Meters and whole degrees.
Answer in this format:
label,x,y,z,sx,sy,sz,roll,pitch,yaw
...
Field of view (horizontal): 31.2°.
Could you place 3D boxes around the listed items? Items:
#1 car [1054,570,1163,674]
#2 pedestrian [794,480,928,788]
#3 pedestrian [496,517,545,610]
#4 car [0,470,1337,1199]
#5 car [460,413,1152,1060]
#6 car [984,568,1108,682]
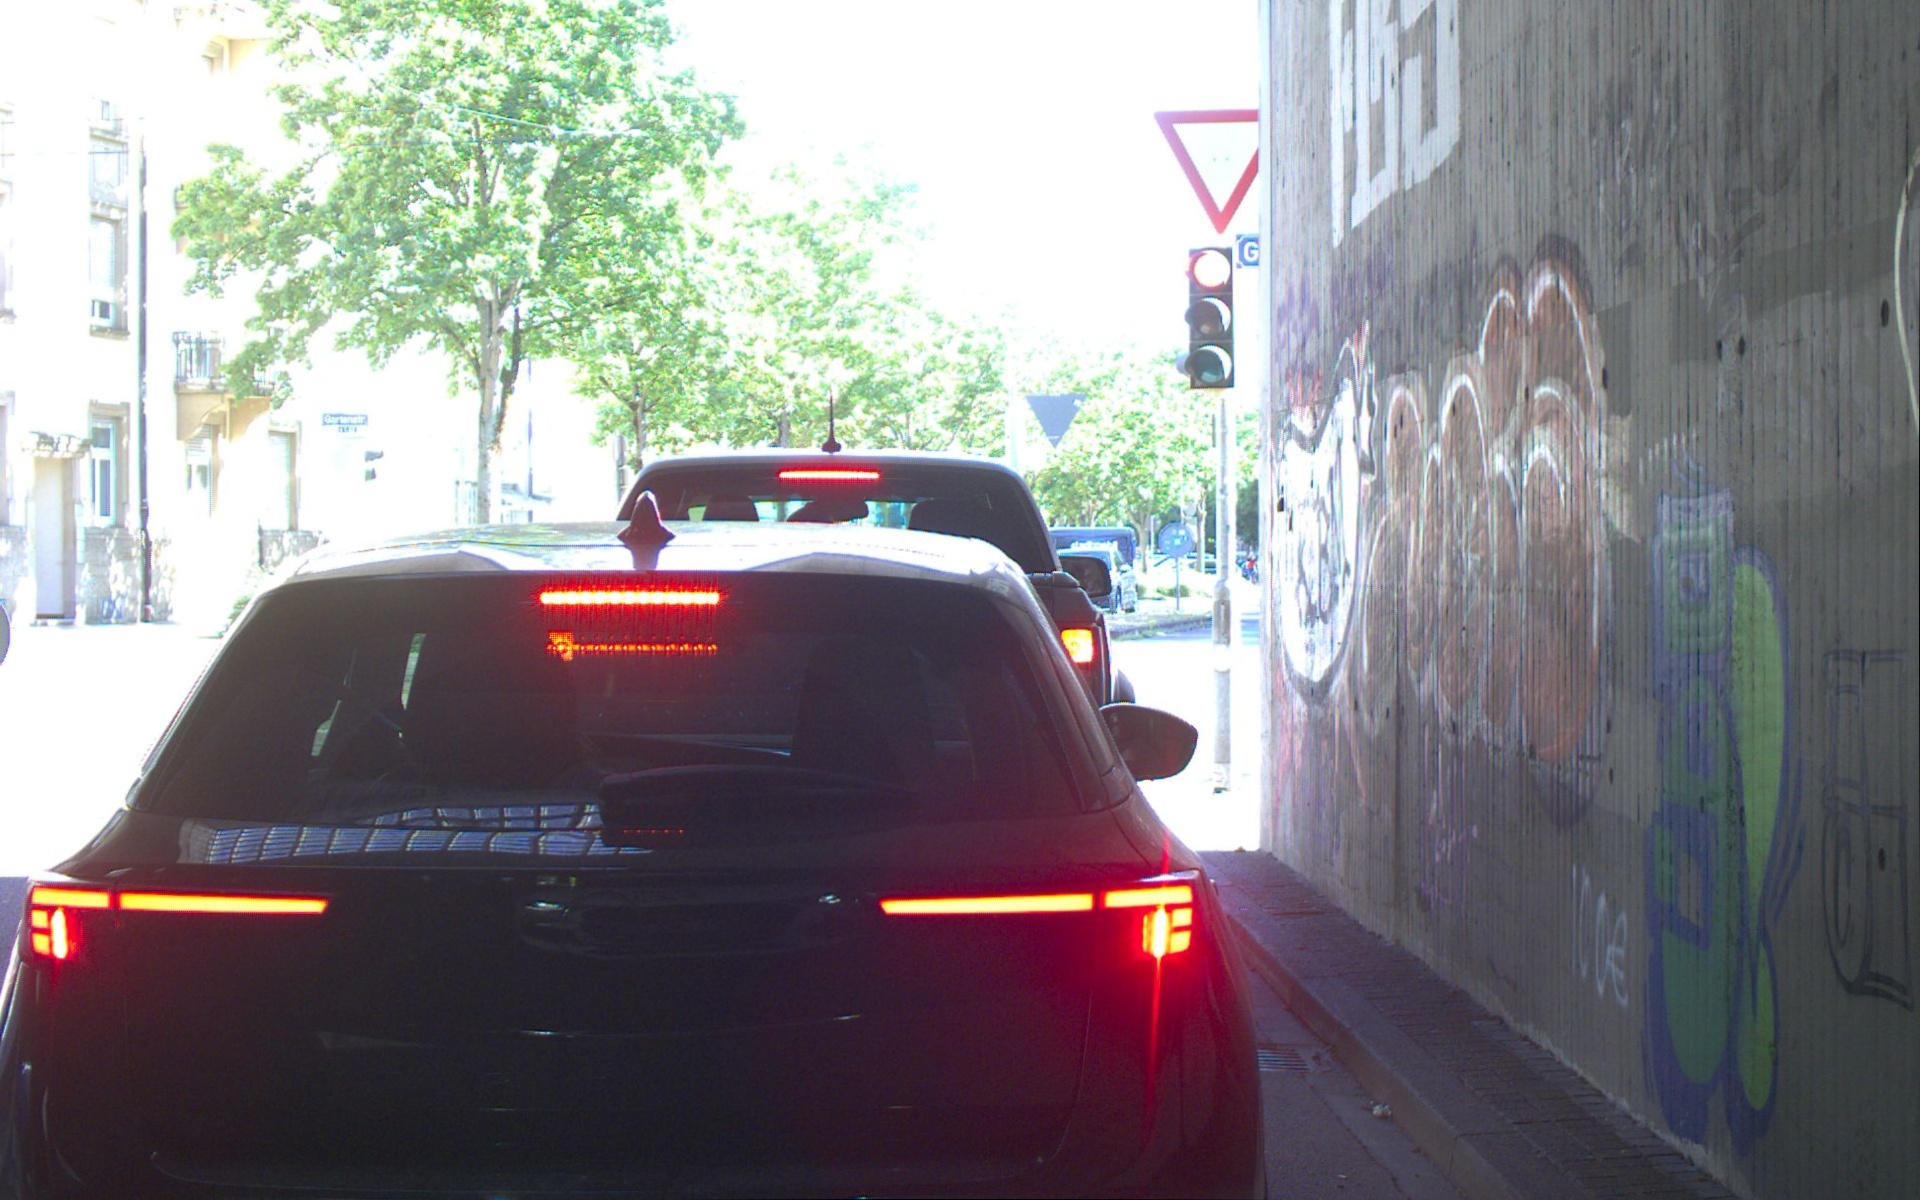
label,x,y,z,sx,sy,sz,roll,pitch,yaw
car,2.987,0.410,68.477,1.994,1.963,4.163,1,1,5
pedestrian,-0.564,0.190,19.843,0.731,1.728,0.874,1,0,-1
pedestrian,-9.969,-0.825,78.022,0.892,2.080,0.808,1,0,7
car,-0.481,0.572,5.988,1.764,1.566,4.001,1,2,-1
car,-0.466,0.357,11.957,1.993,1.865,4.000,0,1,-1
car,1.591,0.414,62.343,1.994,1.963,4.163,1,1,5
